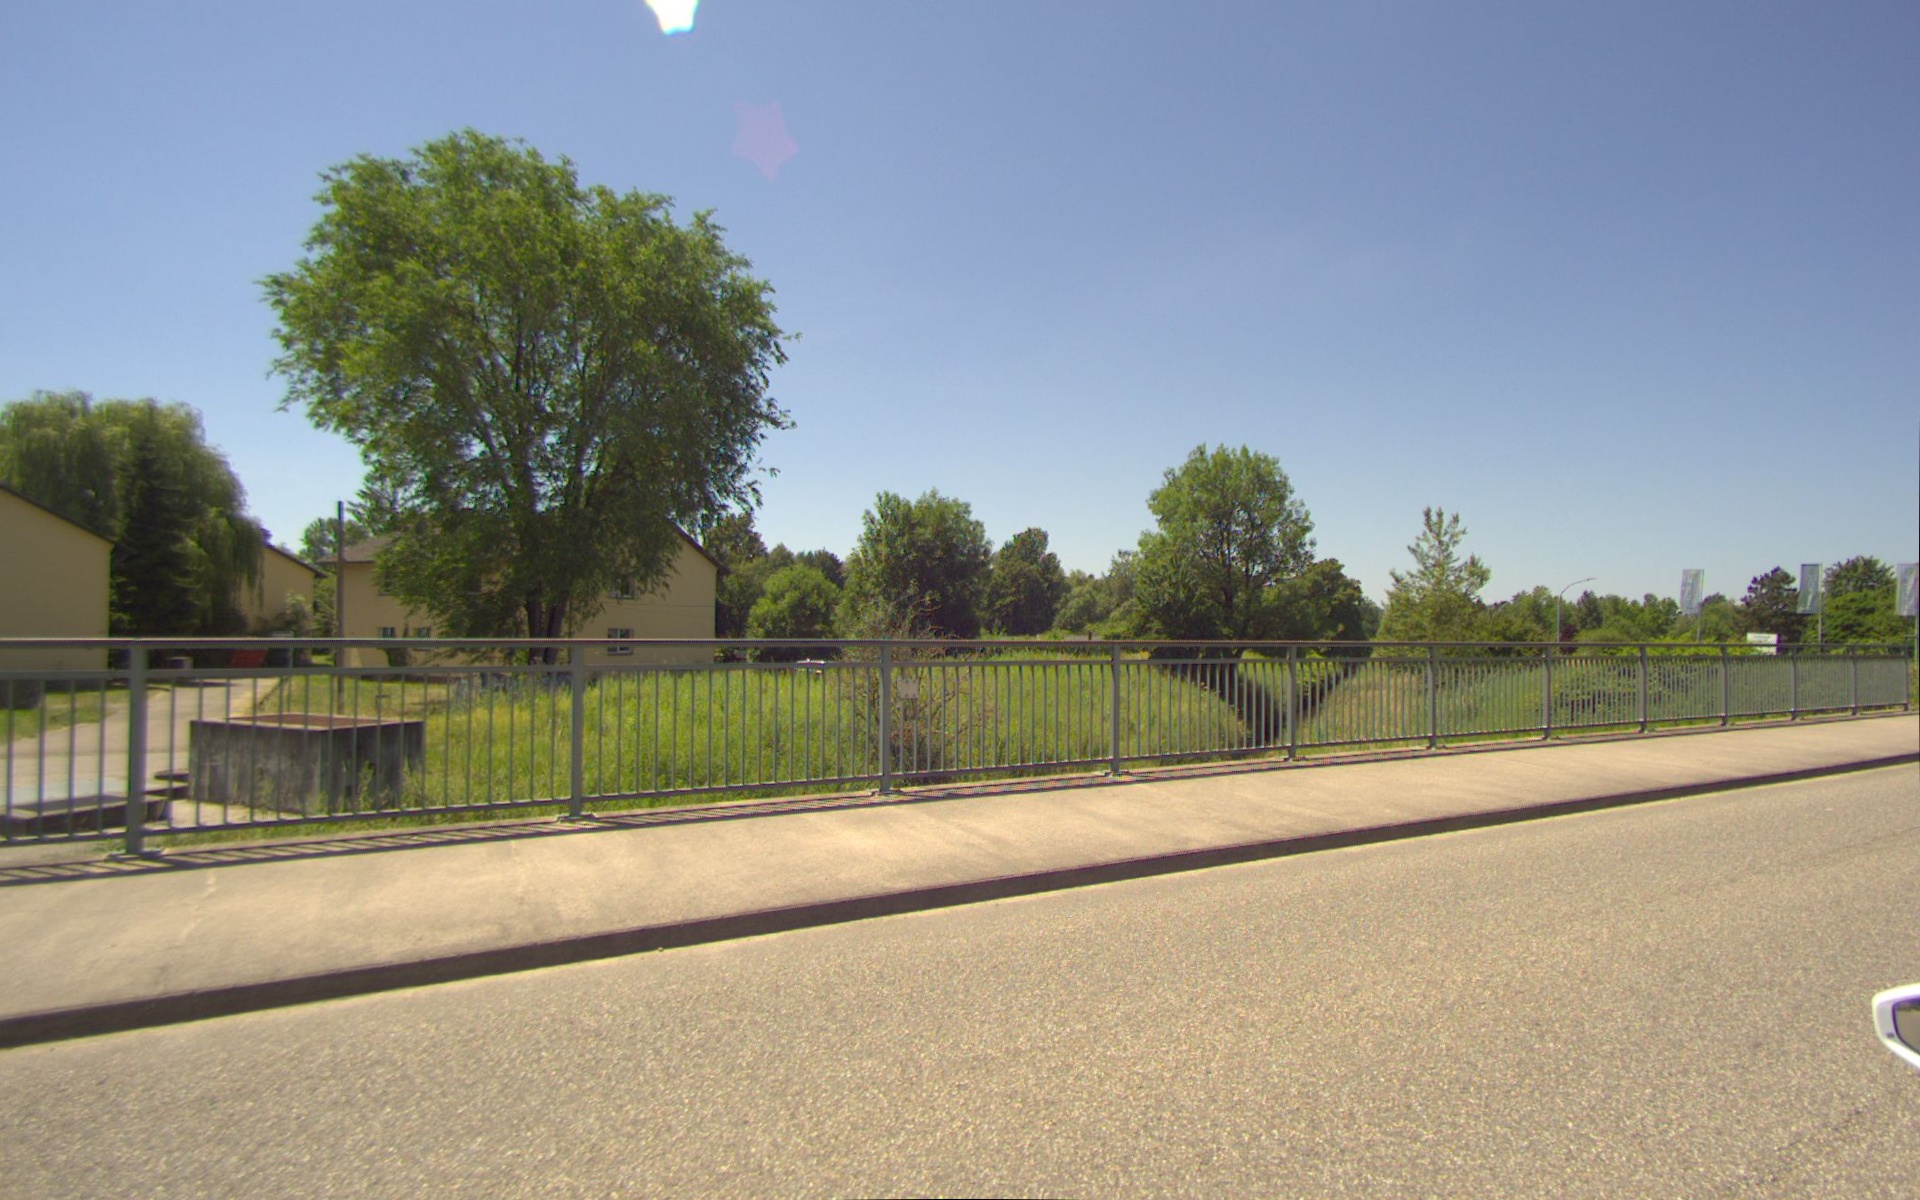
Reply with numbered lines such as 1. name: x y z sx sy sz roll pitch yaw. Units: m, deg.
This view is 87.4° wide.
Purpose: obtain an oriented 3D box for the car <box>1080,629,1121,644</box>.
1. car: 14.708 3.828 105.300 3.923 1.591 2.000 -1 -2 22

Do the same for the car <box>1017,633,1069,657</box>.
1. car: 7.084 3.842 85.894 3.923 2.026 2.267 -1 -2 22

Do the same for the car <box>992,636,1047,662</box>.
1. car: 4.817 3.916 80.996 3.923 2.026 2.267 -1 -2 22

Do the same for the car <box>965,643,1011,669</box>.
1. car: 1.862 3.648 65.771 1.960 1.617 4.002 -1 -2 18

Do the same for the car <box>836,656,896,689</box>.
1. car: -5.405 4.151 58.043 1.840 1.774 4.000 -1 -3 22
